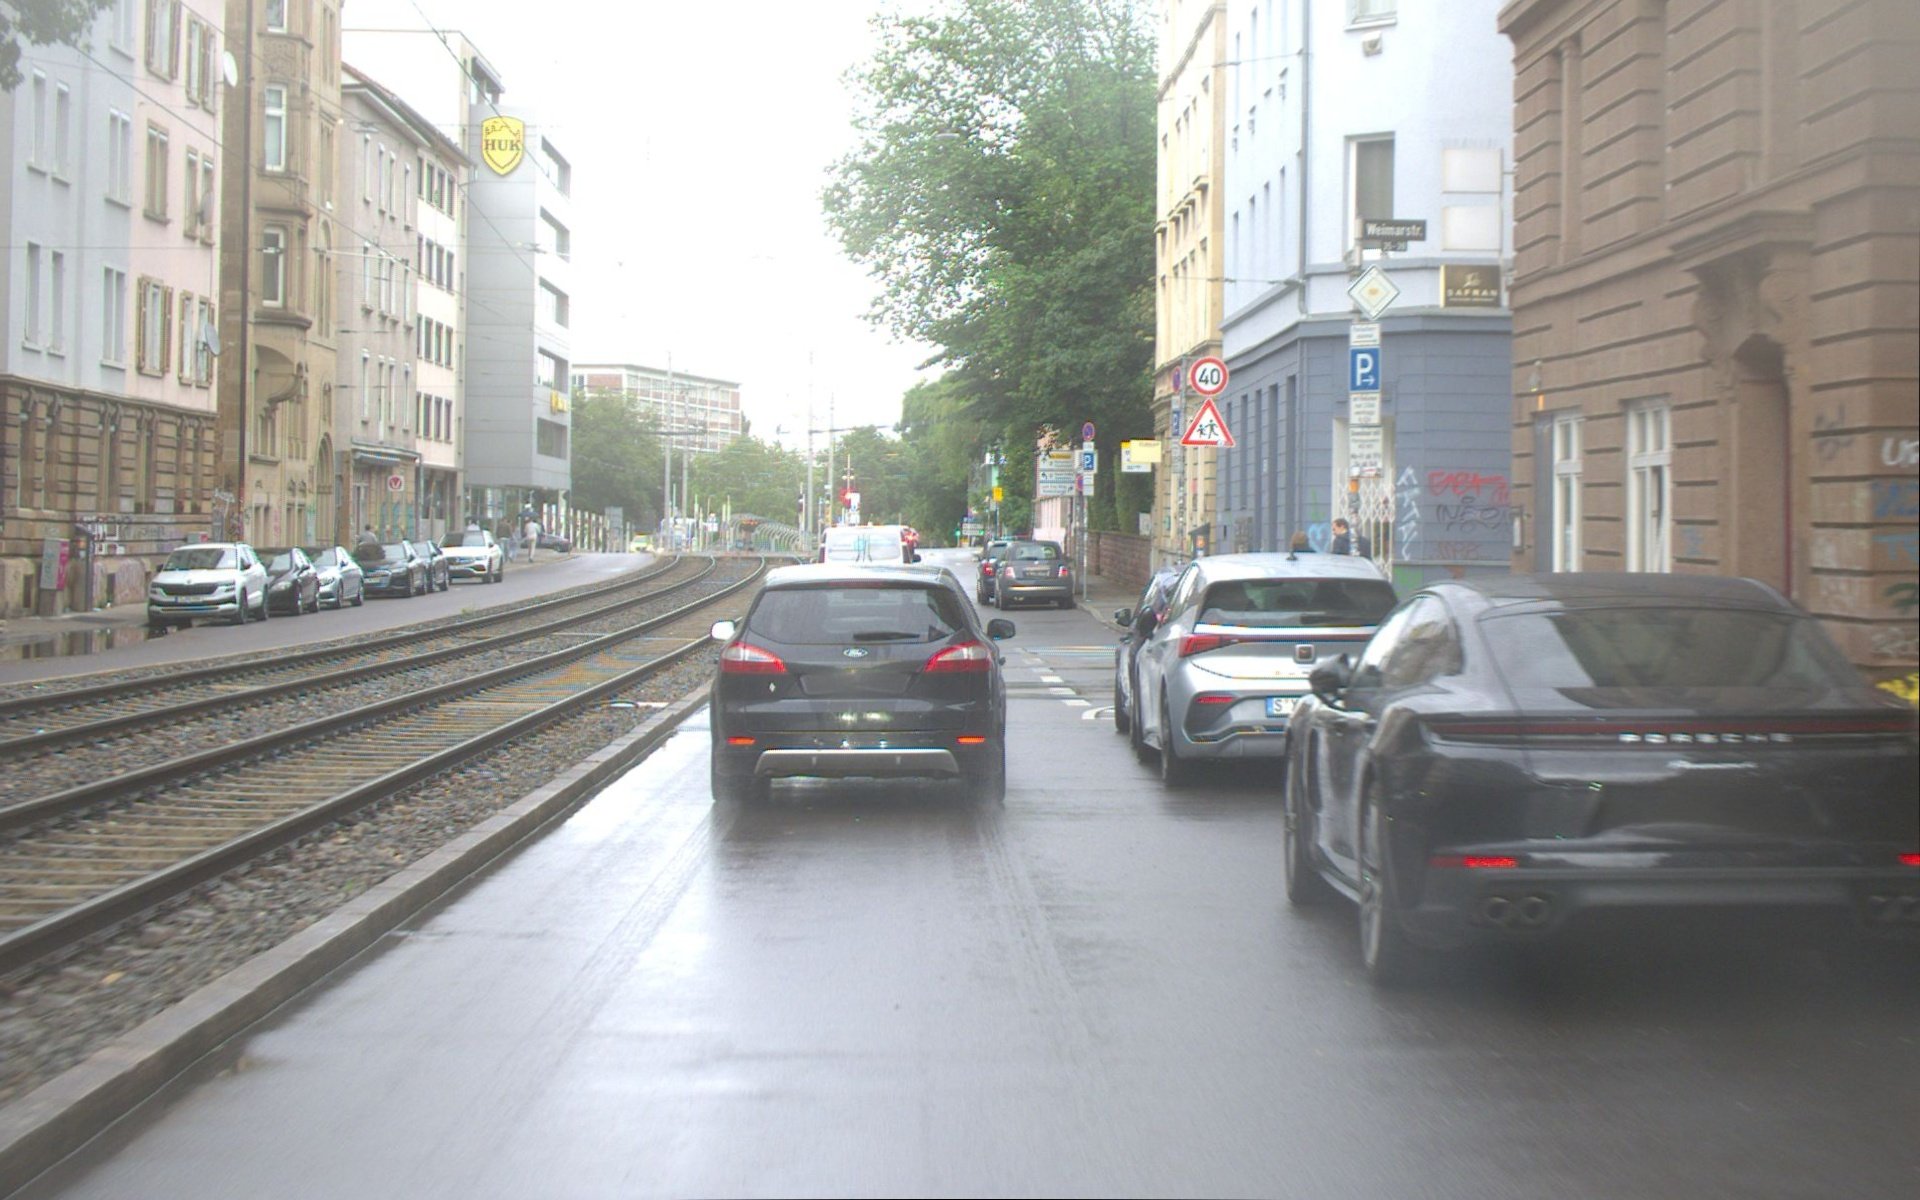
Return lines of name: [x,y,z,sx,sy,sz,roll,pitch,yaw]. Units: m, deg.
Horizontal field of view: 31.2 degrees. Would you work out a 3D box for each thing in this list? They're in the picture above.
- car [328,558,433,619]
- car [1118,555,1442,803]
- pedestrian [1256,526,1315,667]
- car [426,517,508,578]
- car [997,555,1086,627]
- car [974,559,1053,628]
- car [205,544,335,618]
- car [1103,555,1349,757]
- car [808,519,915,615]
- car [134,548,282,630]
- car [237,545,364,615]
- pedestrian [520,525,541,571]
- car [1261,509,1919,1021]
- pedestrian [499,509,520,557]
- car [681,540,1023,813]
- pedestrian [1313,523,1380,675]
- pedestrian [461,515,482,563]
car: [-15.068,-0.316,89.624,1.993,1.514,4.676,1,0,-1]
car: [2.136,0.476,24.058,1.746,1.518,4.355,1,1,-1]
pedestrian: [4.327,-0.049,45.758,0.661,1.846,0.821,1,1,-2]
car: [-15.347,-1.624,107.234,1.993,1.833,5.071,1,0,-3]
car: [1.780,-0.224,75.883,1.738,1.484,4.000,1,1,-2]
car: [1.232,-0.181,80.410,1.642,1.510,4.039,1,1,-2]
car: [-14.848,-0.411,74.209,1.993,1.514,4.209,1,0,-1]
car: [2.161,0.409,28.896,1.720,1.510,4.258,1,1,0]
car: [-1.893,-0.615,67.133,1.993,1.810,4.271,0,0,0]
car: [-14.841,-0.231,68.097,1.993,1.514,4.435,1,0,-1]
car: [-15.105,-0.458,78.983,1.993,1.514,4.992,1,0,-1]
pedestrian: [-17.650,-2.136,141.304,0.744,1.847,0.839,0,-1,-2]
car: [2.356,0.527,13.013,1.993,1.588,4.572,0,0,0]
pedestrian: [-17.713,-2.630,135.189,0.744,1.847,0.839,0,-1,-2]
car: [-0.647,0.460,22.250,1.993,1.588,4.271,0,0,0]
pedestrian: [5.161,-0.023,45.957,0.736,2.007,0.821,1,1,-2]
pedestrian: [-19.190,-2.385,135.100,0.744,1.847,0.839,0,-1,-2]
